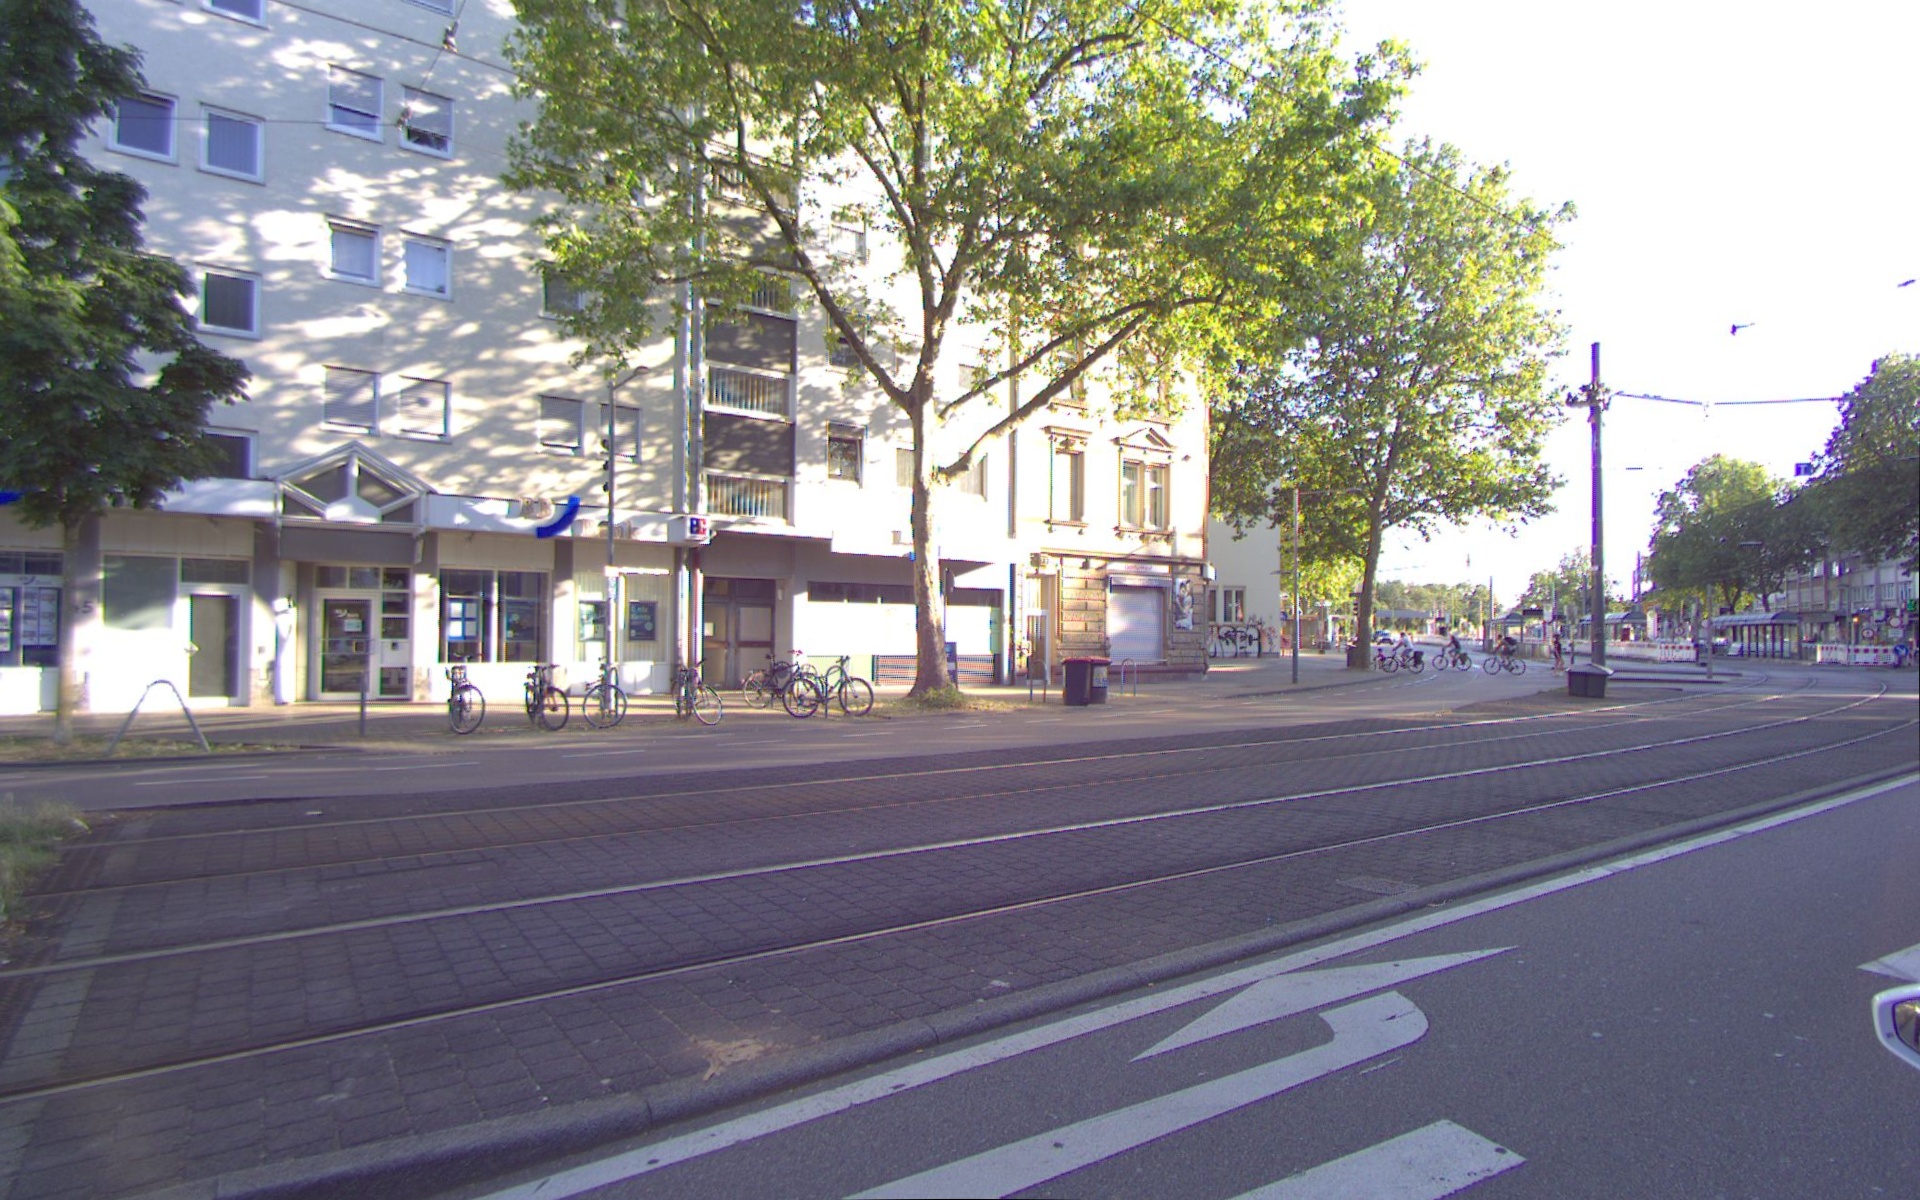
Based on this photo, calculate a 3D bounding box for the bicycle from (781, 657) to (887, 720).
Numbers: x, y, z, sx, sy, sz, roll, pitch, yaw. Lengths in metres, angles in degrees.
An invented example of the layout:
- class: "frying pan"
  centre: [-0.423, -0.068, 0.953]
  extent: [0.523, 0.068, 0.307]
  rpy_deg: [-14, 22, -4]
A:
- class: "bicycle"
  centre: [-2.300, 1.594, 18.388]
  extent: [1.800, 1.091, 0.649]
  rpy_deg: [2, -2, -30]

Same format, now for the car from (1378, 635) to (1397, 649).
- class: "car"
  centre: [53.012, 5.152, 124.555]
  extent: [1.962, 1.661, 3.997]
  rpy_deg: [0, -2, 25]

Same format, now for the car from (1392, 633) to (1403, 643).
- class: "car"
  centre: [79.079, 6.885, 181.659]
  extent: [1.814, 1.706, 3.715]
  rpy_deg: [-2, -2, 23]

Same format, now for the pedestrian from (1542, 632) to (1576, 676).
- class: "pedestrian"
  centre: [23.891, 2.164, 40.061]
  extent: [0.639, 1.708, 0.985]
  rpy_deg: [3, -2, -41]

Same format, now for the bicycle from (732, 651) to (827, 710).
- class: "bicycle"
  centre: [-3.630, 1.599, 20.271]
  extent: [1.777, 1.132, 0.617]
  rpy_deg: [2, -2, -30]

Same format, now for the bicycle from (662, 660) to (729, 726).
- class: "bicycle"
  centre: [-4.604, 1.583, 17.420]
  extent: [0.584, 1.002, 1.729]
  rpy_deg: [2, -1, -34]

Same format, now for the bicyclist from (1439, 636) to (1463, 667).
- class: "bicyclist"
  centre: [23.389, 2.433, 47.875]
  extent: [0.751, 1.463, 0.831]
  rpy_deg: [2, -2, -44]

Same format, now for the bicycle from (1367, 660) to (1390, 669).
- class: "bicycle"
  centre: [19.792, 3.063, 47.515]
  extent: [0.946, 0.404, 0.288]
  rpy_deg: [-1, -2, 40]

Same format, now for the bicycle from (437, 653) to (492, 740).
- class: "bicycle"
  centre: [-7.415, 1.404, 14.999]
  extent: [0.506, 1.153, 1.729]
  rpy_deg: [2, -1, -34]

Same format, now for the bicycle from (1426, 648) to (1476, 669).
- class: "bicycle"
  centre: [23.381, 2.776, 47.872]
  extent: [0.755, 0.950, 1.999]
  rpy_deg: [2, -2, -43]

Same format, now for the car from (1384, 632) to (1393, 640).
- class: "car"
  centre: [89.856, 7.574, 210.599]
  extent: [1.814, 1.706, 3.716]
  rpy_deg: [0, -2, 23]

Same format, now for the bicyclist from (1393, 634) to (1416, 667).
- class: "bicyclist"
  centre: [20.141, 2.294, 45.525]
  extent: [0.828, 1.463, 0.625]
  rpy_deg: [-1, -2, 36]

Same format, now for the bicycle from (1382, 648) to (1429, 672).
- class: "bicycle"
  centre: [20.162, 2.718, 45.493]
  extent: [1.883, 1.018, 0.618]
  rpy_deg: [-1, -2, 36]

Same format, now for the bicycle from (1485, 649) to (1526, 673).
- class: "bicycle"
  centre: [23.169, 2.582, 42.693]
  extent: [1.488, 0.998, 0.448]
  rpy_deg: [-1, -2, 42]

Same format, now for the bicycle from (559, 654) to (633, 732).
- class: "bicycle"
  centre: [-5.938, 1.469, 16.327]
  extent: [0.724, 1.128, 1.729]
  rpy_deg: [2, -1, -34]

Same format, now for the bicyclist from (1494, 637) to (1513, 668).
- class: "bicyclist"
  centre: [23.122, 2.220, 42.748]
  extent: [0.631, 1.310, 0.455]
  rpy_deg: [-1, -2, 42]

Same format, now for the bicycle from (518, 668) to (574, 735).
- class: "bicycle"
  centre: [-6.523, 1.569, 15.801]
  extent: [0.467, 0.900, 1.729]
  rpy_deg: [2, -1, -34]

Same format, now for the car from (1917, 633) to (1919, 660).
- class: "car"
  centre: [64.565, 3.118, 65.283]
  extent: [1.960, 1.815, 4.000]
  rpy_deg: [2, -1, 20]

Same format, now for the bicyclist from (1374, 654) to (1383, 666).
- class: "bicyclist"
  centre: [19.798, 2.838, 47.519]
  extent: [0.304, 0.597, 0.279]
  rpy_deg: [-1, -2, 40]
